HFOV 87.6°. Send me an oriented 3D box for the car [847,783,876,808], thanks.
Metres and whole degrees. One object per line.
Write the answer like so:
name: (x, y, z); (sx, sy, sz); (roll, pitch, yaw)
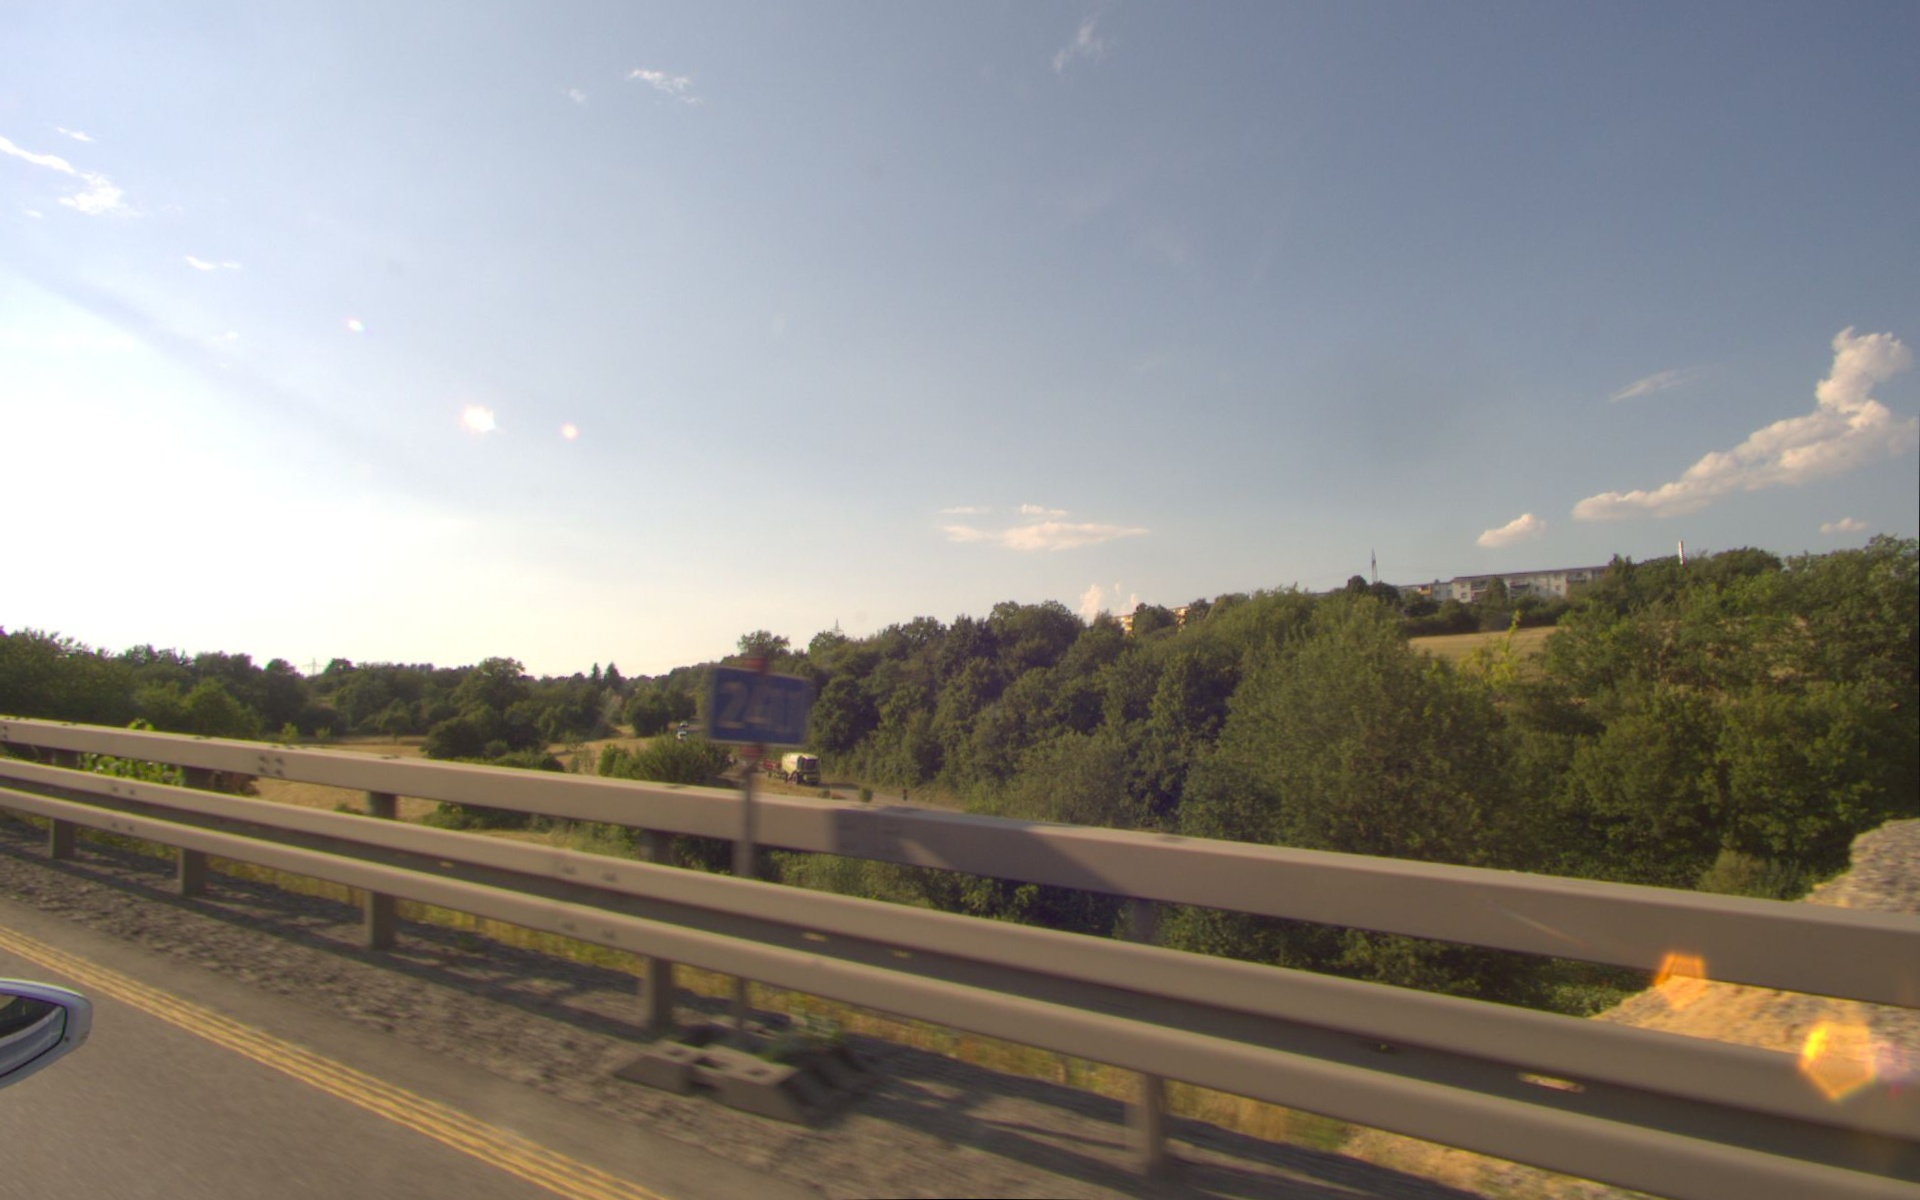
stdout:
car: (-10.944, 21.609, 110.775); (1.854, 2.039, 3.985); (0, -2, -27)
